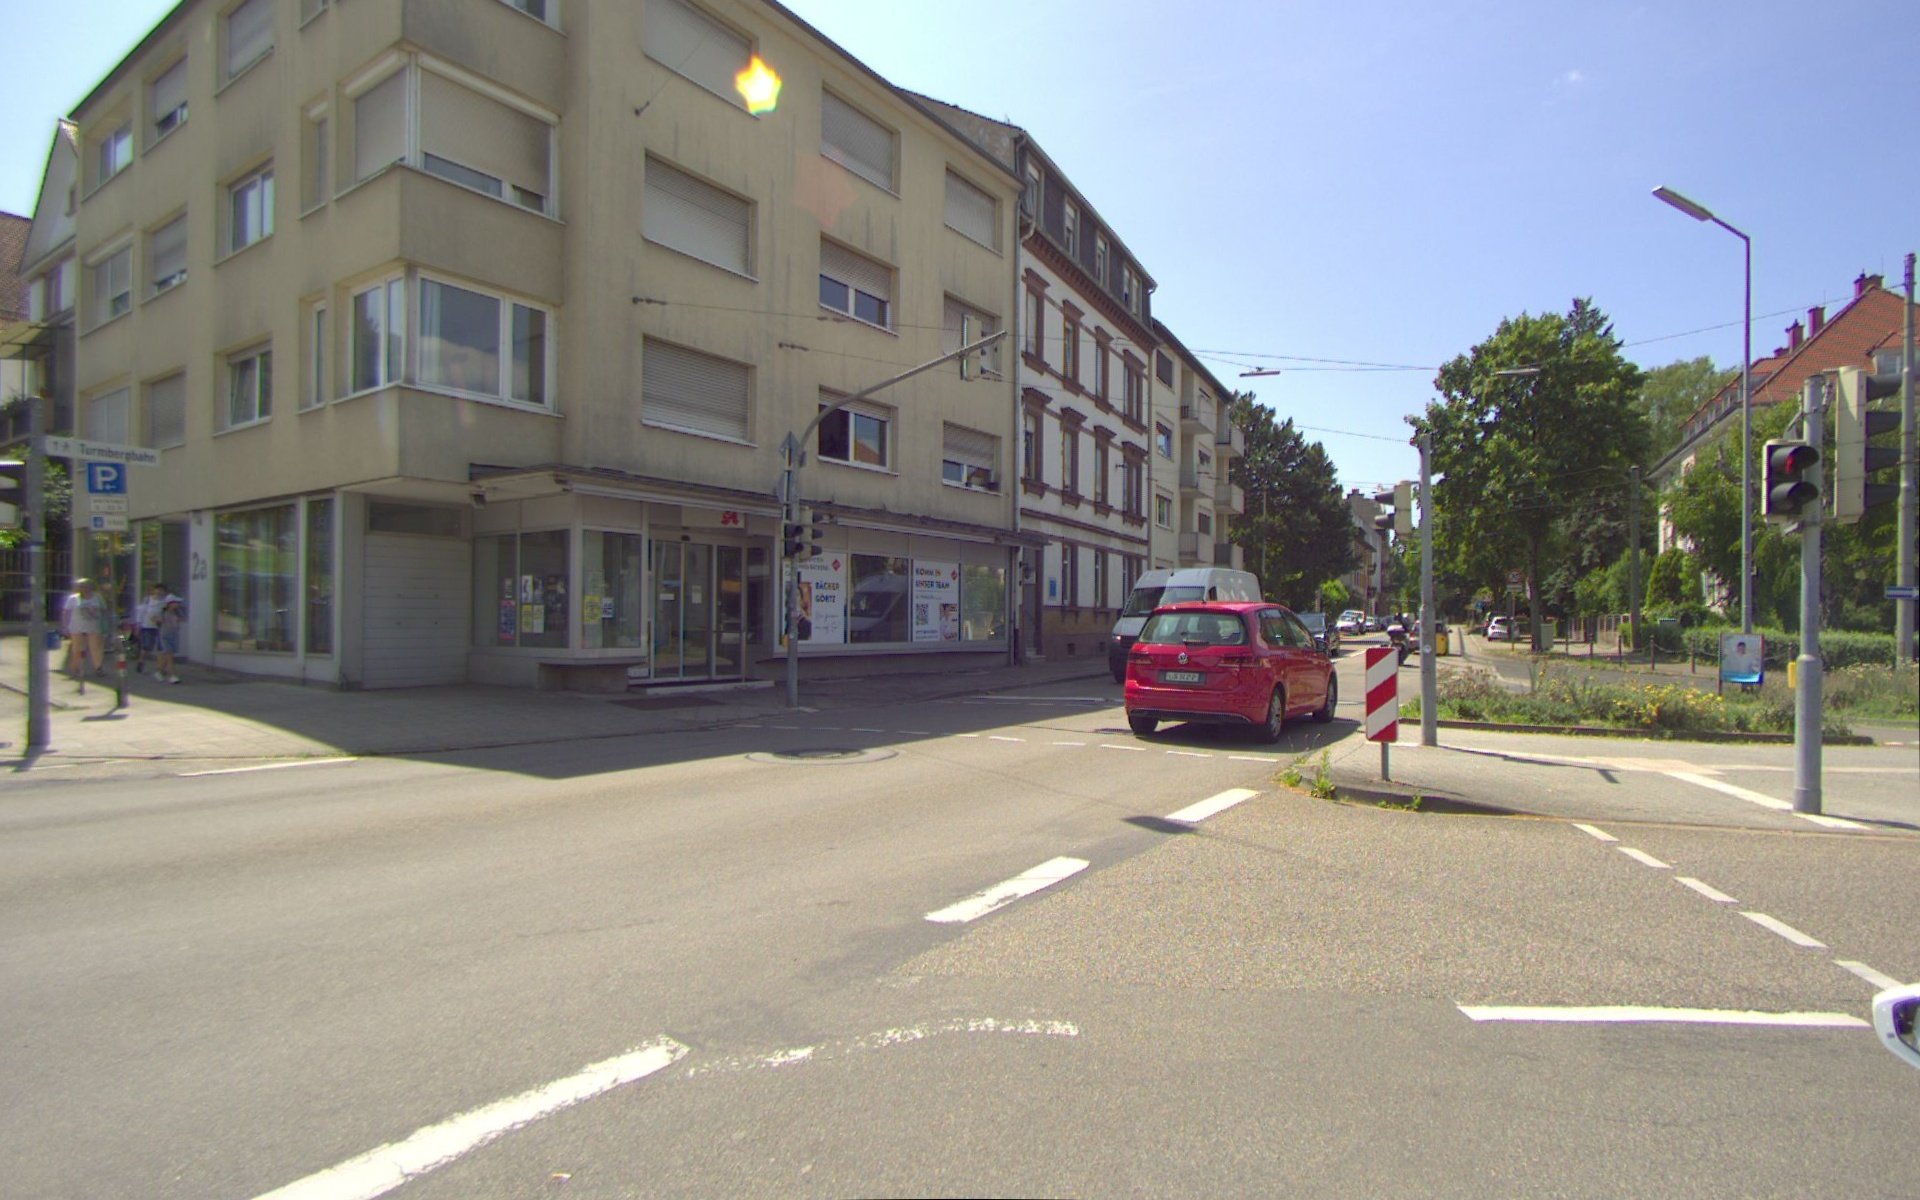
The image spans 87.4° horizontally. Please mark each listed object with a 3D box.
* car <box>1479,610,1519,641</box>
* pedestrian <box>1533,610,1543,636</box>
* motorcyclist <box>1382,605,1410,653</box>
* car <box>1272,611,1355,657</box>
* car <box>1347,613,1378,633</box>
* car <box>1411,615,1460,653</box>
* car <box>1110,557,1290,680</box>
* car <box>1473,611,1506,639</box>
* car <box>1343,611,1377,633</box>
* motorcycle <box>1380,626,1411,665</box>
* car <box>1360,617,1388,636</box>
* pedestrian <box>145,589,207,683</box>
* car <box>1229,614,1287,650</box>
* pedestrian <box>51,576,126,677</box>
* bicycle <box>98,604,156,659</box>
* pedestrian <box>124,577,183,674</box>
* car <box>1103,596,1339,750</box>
[{"bbox_3d":[33.917,1.591,63.301,1.962,1.832,3.996,1,0,25],"label":"car"},{"bbox_3d":[37.664,1.506,65.468,0.501,1.678,0.465,1,0,31],"label":"pedestrian"},{"bbox_3d":[13.641,0.893,31.395,0.700,1.465,1.017,1,0,28],"label":"motorcyclist"},{"bbox_3d":[12.841,1.218,36.337,1.827,1.578,4.274,-2,-2,33],"label":"car"},{"bbox_3d":[34.496,1.952,85.963,1.773,1.578,4.029,4,1,31],"label":"car"},{"bbox_3d":[20.787,1.453,43.838,1.771,1.578,4.032,1,-1,27],"label":"car"},{"bbox_3d":[6.151,0.499,24.756,2.184,2.534,7.540,-3,-3,30],"label":"car"},{"bbox_3d":[39.750,1.848,75.439,1.962,1.932,3.996,1,0,25],"label":"car"},{"bbox_3d":[31.950,1.752,80.178,1.773,1.578,4.029,4,1,31],"label":"car"},{"bbox_3d":[13.677,1.413,31.491,0.700,1.149,2.194,1,0,28],"label":"motorcycle"},{"bbox_3d":[39.648,2.528,96.136,1.773,1.578,4.029,4,1,31],"label":"car"},{"bbox_3d":[-12.841,0.581,16.448,0.677,1.495,0.646,1,0,38],"label":"pedestrian"},{"bbox_3d":[13.427,1.410,45.110,1.962,1.530,3.997,1,-1,25],"label":"car"},{"bbox_3d":[-14.770,0.431,17.026,0.791,1.654,0.819,1,0,38],"label":"pedestrian"},{"bbox_3d":[-16.733,0.616,20.158,1.715,1.040,0.497,1,0,37],"label":"bicycle"},{"bbox_3d":[-14.065,0.441,17.522,0.677,1.654,0.646,1,0,38],"label":"pedestrian"},{"bbox_3d":[3.440,0.795,12.658,1.773,1.578,4.028,1,0,31],"label":"car"}]
